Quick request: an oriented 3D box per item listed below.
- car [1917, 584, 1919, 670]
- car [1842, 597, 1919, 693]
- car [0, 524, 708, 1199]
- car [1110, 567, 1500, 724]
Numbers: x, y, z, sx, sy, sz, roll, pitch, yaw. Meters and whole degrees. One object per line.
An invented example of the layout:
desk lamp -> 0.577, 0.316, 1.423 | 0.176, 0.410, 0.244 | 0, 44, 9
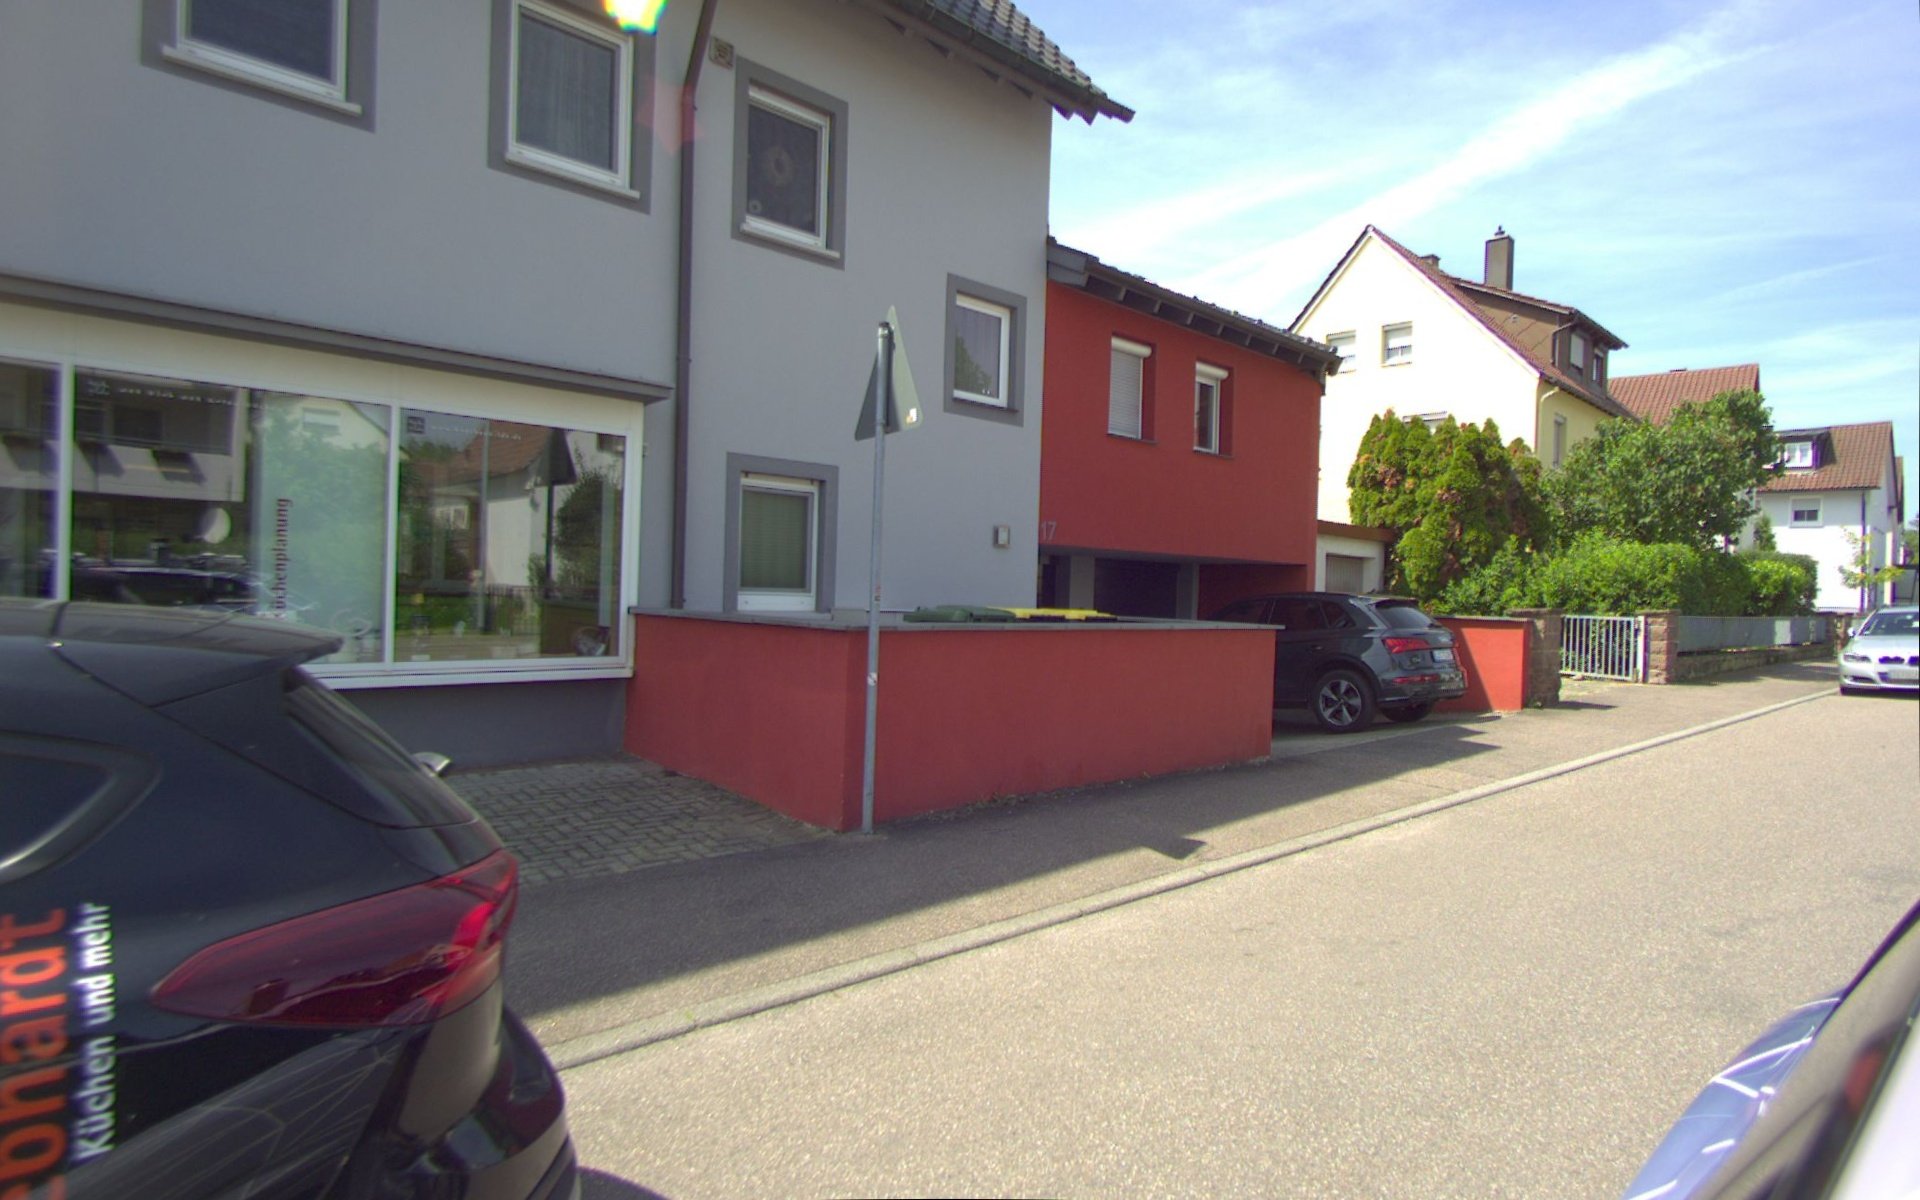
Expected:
car -> 20.853, 0.516, 20.426 | 4.260, 1.683, 1.739 | 0, -1, -40
car -> 15.951, 0.662, 16.491 | 4.343, 1.439, 1.754 | 0, -1, -41
car -> -2.585, 0.702, 0.790 | 4.327, 1.546, 1.765 | 0, 0, -40
car -> 4.267, 0.660, 13.128 | 1.844, 1.691, 4.372 | 0, -5, -41
